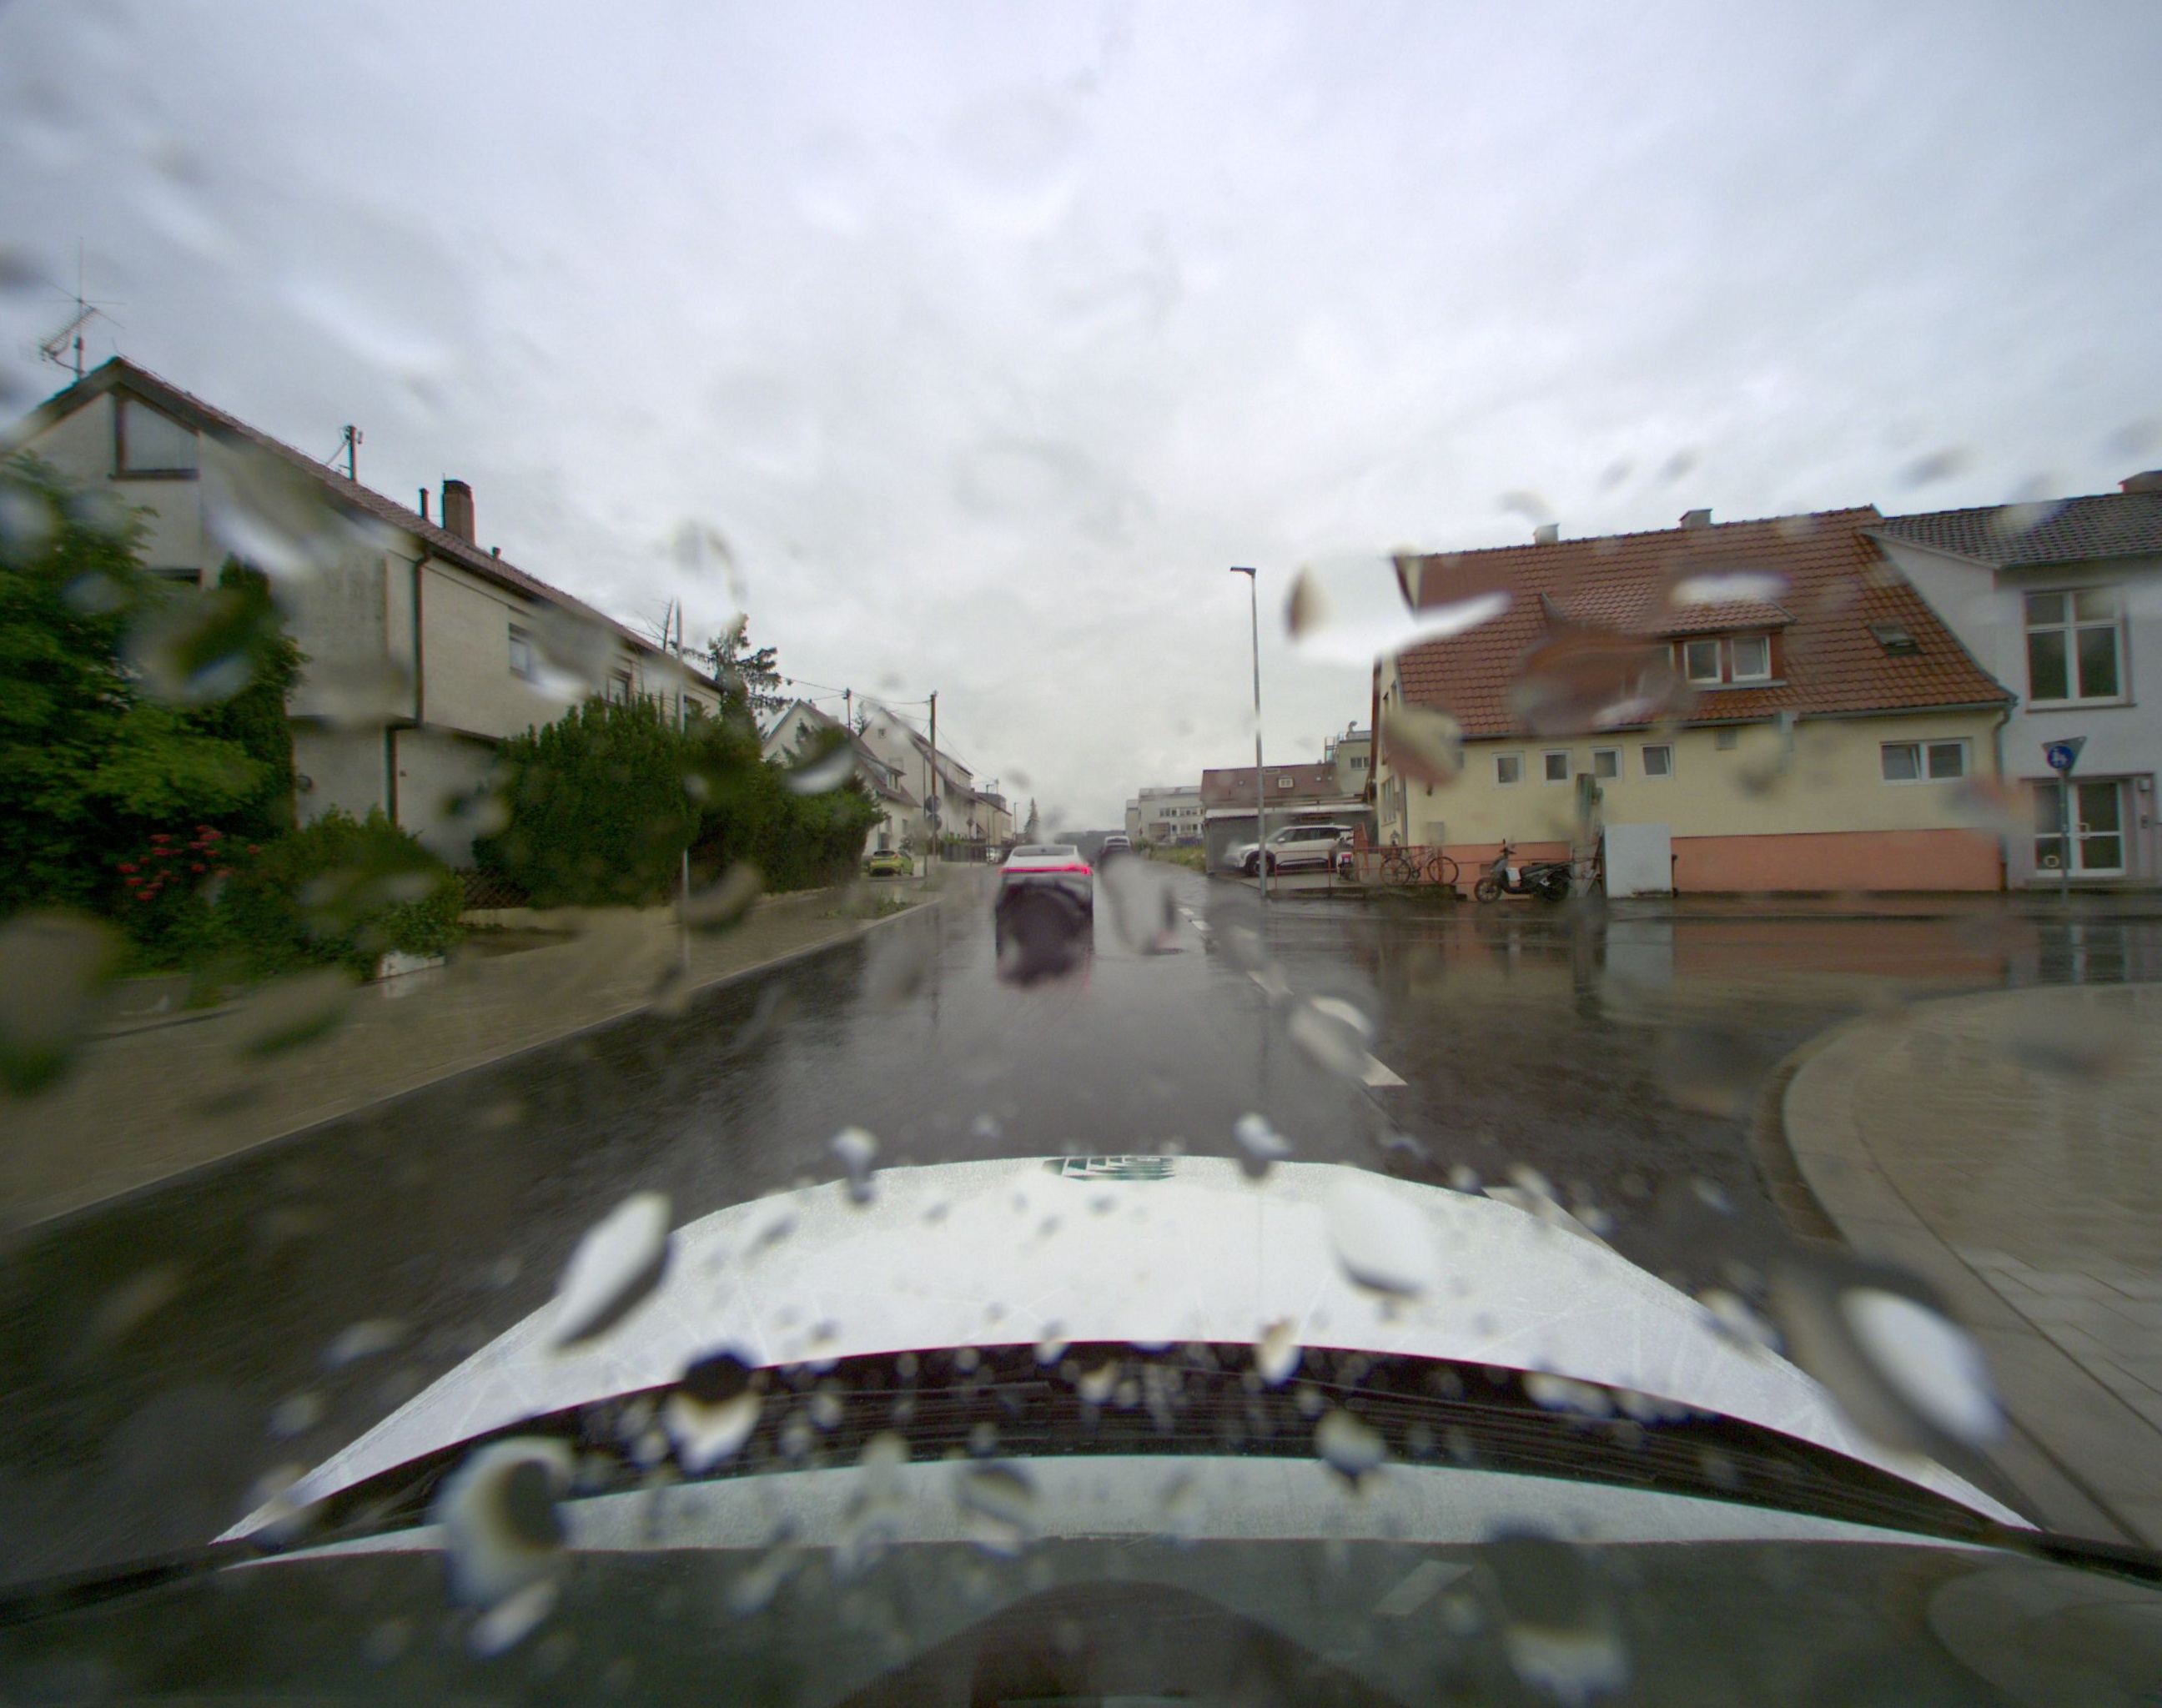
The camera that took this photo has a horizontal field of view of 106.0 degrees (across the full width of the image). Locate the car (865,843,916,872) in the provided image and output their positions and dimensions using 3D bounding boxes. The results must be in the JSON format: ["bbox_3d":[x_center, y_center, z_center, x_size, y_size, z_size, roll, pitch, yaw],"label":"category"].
[{"bbox_3d":[-10.112,0.196,43.434,1.772,1.467,3.459,-2,-1,2],"label":"car"}]

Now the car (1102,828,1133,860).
[{"bbox_3d":[2.221,-0.620,49.900,1.762,1.825,4.576,-1,0,1],"label":"car"}]

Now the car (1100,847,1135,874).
[{"bbox_3d":[1.889,0.316,43.042,1.762,1.335,4.322,-1,0,1],"label":"car"}]

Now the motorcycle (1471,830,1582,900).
[{"bbox_3d":[9.619,0.242,17.635,2.018,1.456,0.491,-2,0,14],"label":"motorcycle"}]

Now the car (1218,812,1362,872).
[{"bbox_3d":[6.795,-0.367,26.790,4.203,1.610,1.861,-4,0,-1],"label":"car"}]

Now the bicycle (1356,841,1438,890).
[{"bbox_3d":[7.476,0.278,19.308,1.757,1.096,0.491,-1,1,15],"label":"bicycle"}]

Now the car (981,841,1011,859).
[{"bbox_3d":[-7.451,-0.343,72.005,1.986,1.510,4.897,1,0,2],"label":"car"}]

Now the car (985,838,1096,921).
[{"bbox_3d":[-0.719,0.469,17.729,1.986,1.502,4.672,-2,0,2],"label":"car"}]

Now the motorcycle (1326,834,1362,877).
[{"bbox_3d":[7.054,0.007,21.936,0.485,1.096,2.004,-2,1,6],"label":"motorcycle"}]
